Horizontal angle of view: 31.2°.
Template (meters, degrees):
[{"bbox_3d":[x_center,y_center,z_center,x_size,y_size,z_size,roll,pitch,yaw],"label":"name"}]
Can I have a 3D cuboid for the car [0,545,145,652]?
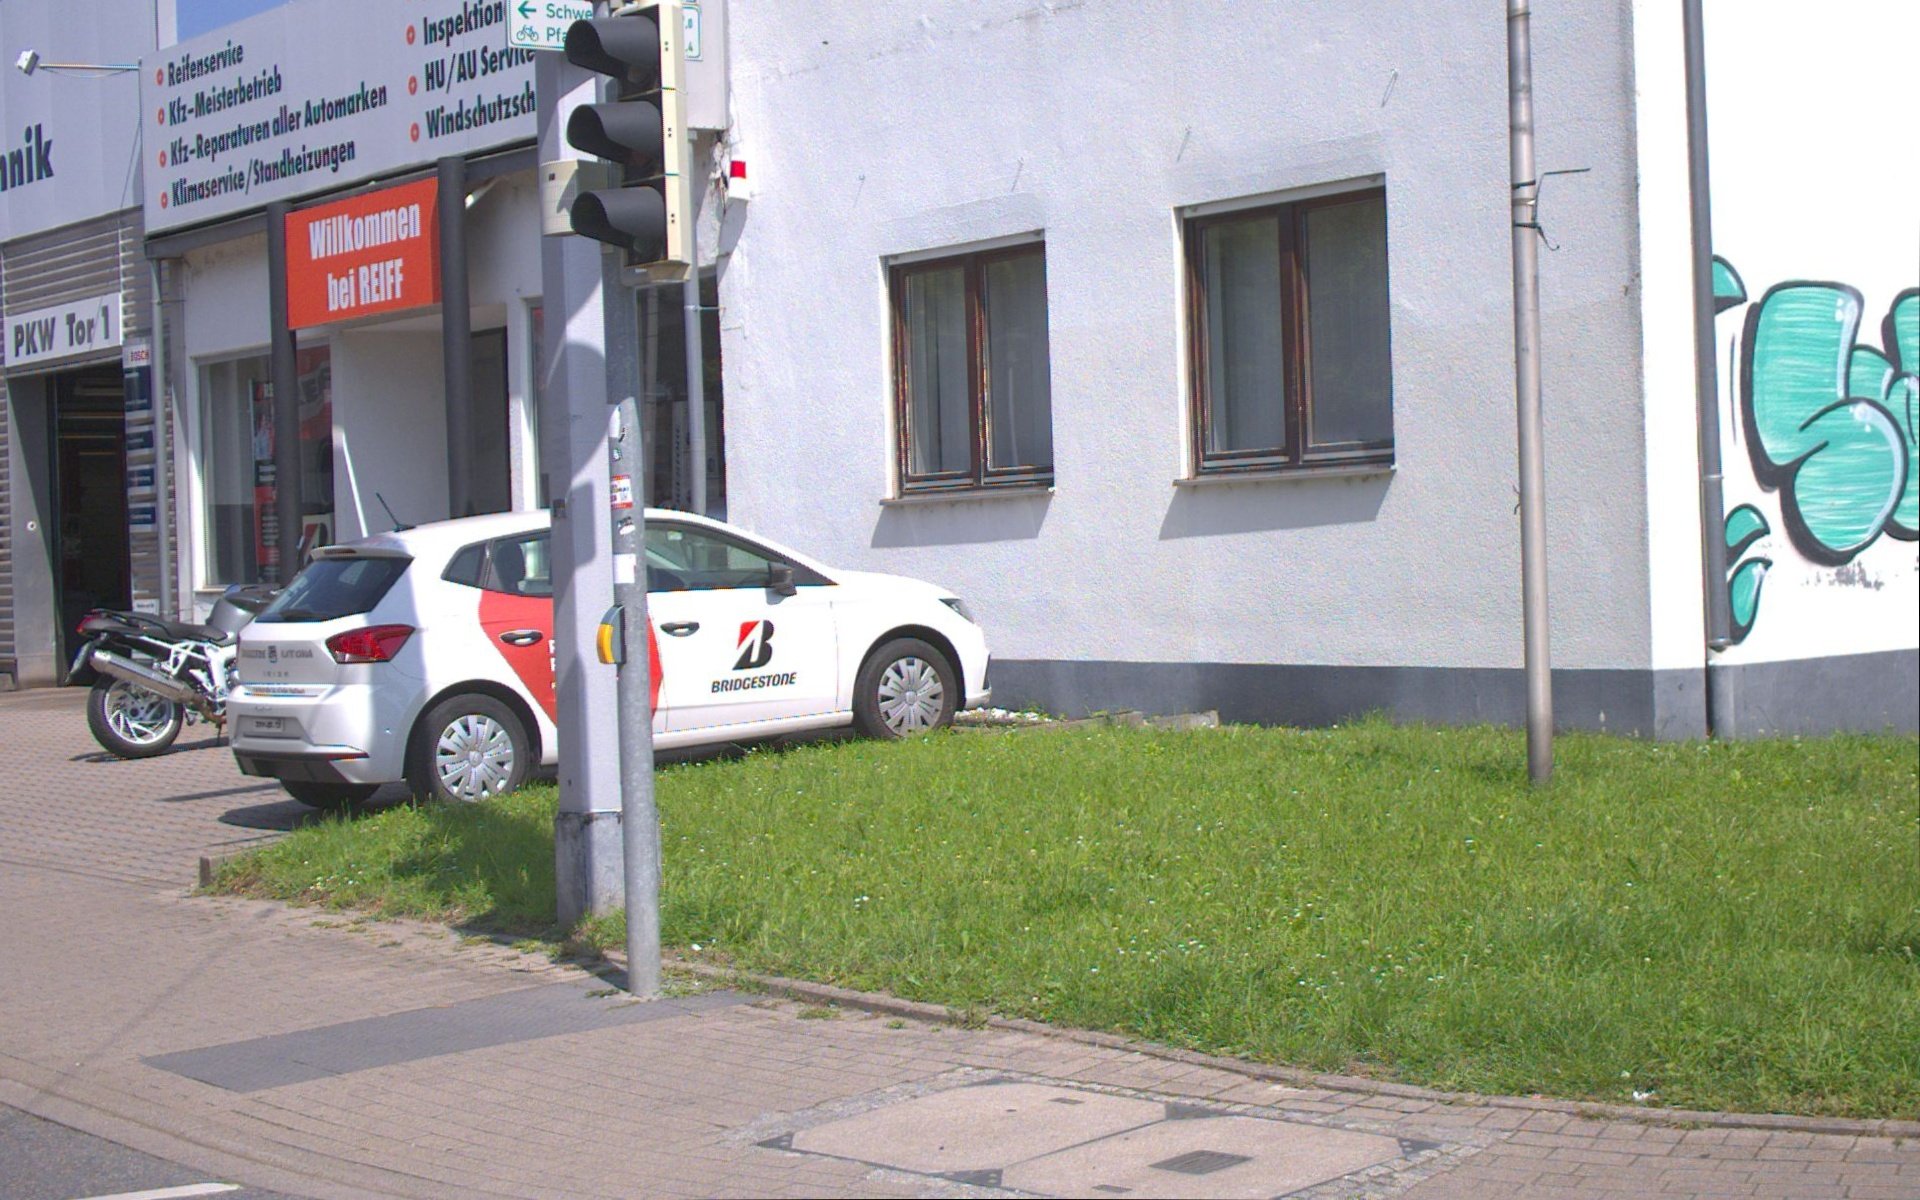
[{"bbox_3d":[-13.252,0.003,46.851,3.763,1.371,1.724,-3,2,-40],"label":"car"}]

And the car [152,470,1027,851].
[{"bbox_3d":[-1.858,0.240,17.776,3.989,1.457,1.889,-7,4,-36],"label":"car"}]

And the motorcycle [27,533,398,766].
[{"bbox_3d":[-4.912,0.304,22.692,2.184,1.304,0.731,-6,3,-36],"label":"motorcycle"}]
